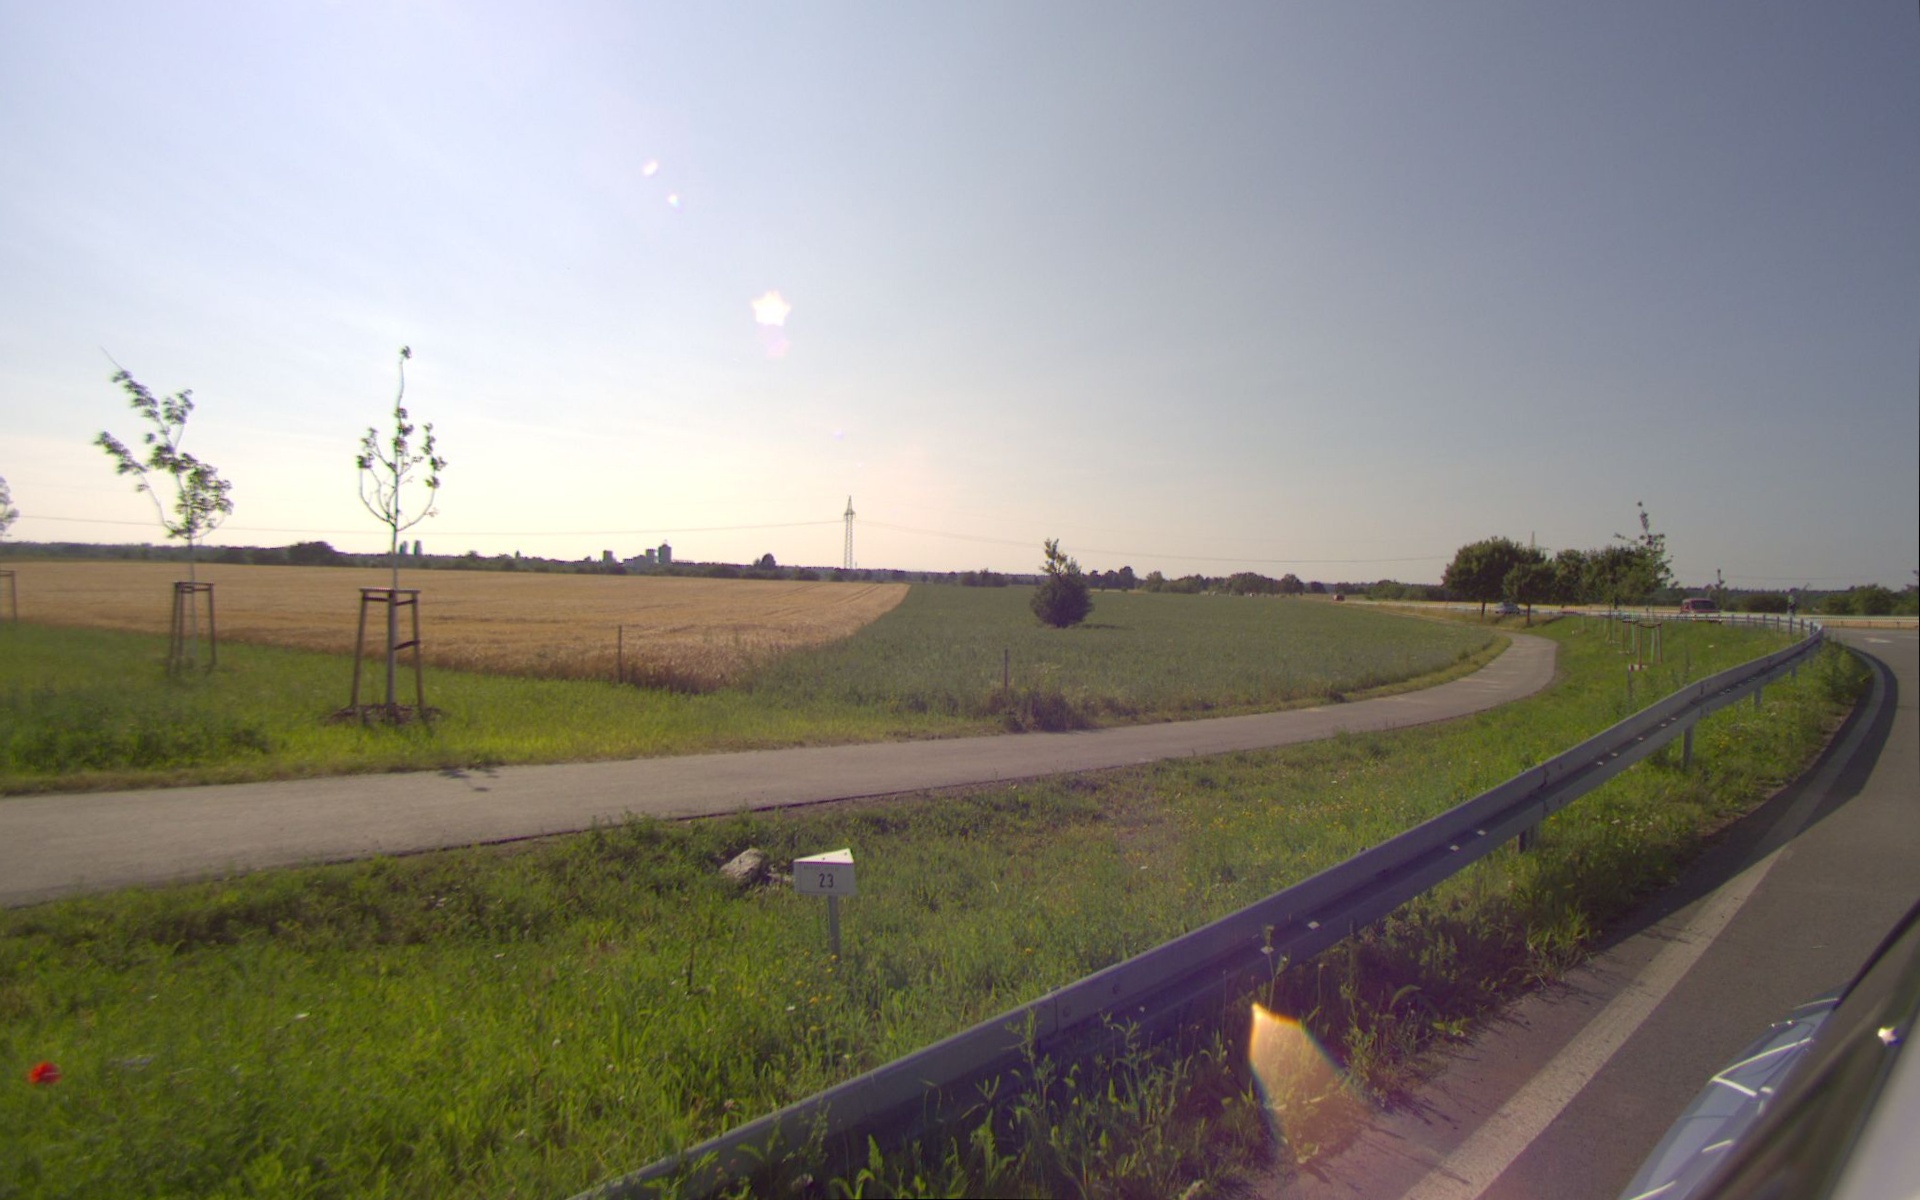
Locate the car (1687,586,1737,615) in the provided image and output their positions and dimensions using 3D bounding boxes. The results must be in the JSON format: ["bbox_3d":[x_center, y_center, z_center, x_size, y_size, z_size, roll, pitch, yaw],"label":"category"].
[{"bbox_3d":[50.789,-0.012,68.422,1.675,1.860,4.660,1,1,24],"label":"car"}]

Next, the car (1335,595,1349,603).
[{"bbox_3d":[84.747,-0.315,224.596,1.781,1.694,3.999,0,1,1],"label":"car"}]
